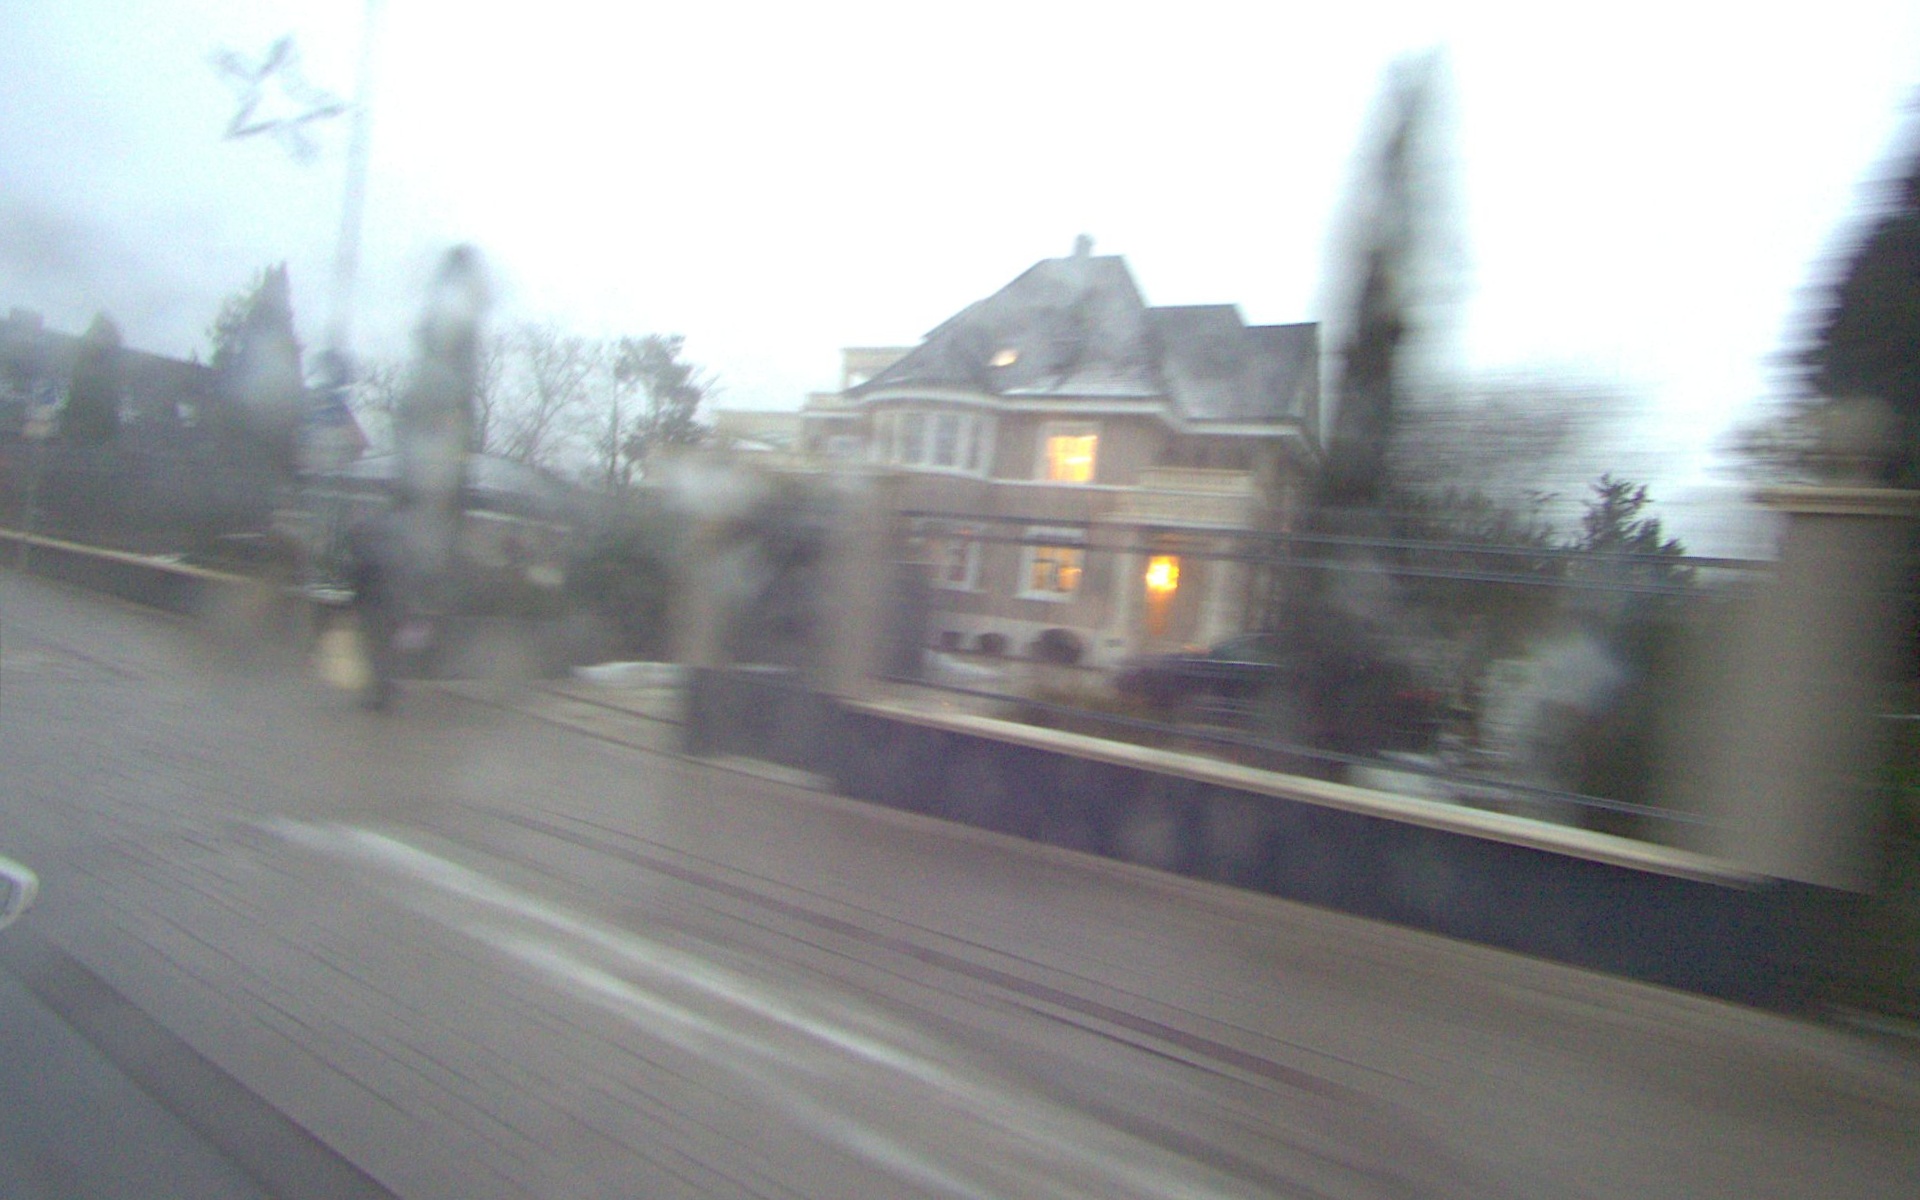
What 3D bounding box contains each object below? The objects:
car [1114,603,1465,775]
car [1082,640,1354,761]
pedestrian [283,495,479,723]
[{"bbox_3d":[4.475,1.127,13.726,4.156,1.682,1.946,6,-1,27],"label":"car"},{"bbox_3d":[4.256,1.606,16.699,3.933,1.391,1.808,6,-1,31],"label":"car"},{"bbox_3d":[-4.920,0.070,8.564,1.039,1.764,0.987,6,1,34],"label":"pedestrian"}]
